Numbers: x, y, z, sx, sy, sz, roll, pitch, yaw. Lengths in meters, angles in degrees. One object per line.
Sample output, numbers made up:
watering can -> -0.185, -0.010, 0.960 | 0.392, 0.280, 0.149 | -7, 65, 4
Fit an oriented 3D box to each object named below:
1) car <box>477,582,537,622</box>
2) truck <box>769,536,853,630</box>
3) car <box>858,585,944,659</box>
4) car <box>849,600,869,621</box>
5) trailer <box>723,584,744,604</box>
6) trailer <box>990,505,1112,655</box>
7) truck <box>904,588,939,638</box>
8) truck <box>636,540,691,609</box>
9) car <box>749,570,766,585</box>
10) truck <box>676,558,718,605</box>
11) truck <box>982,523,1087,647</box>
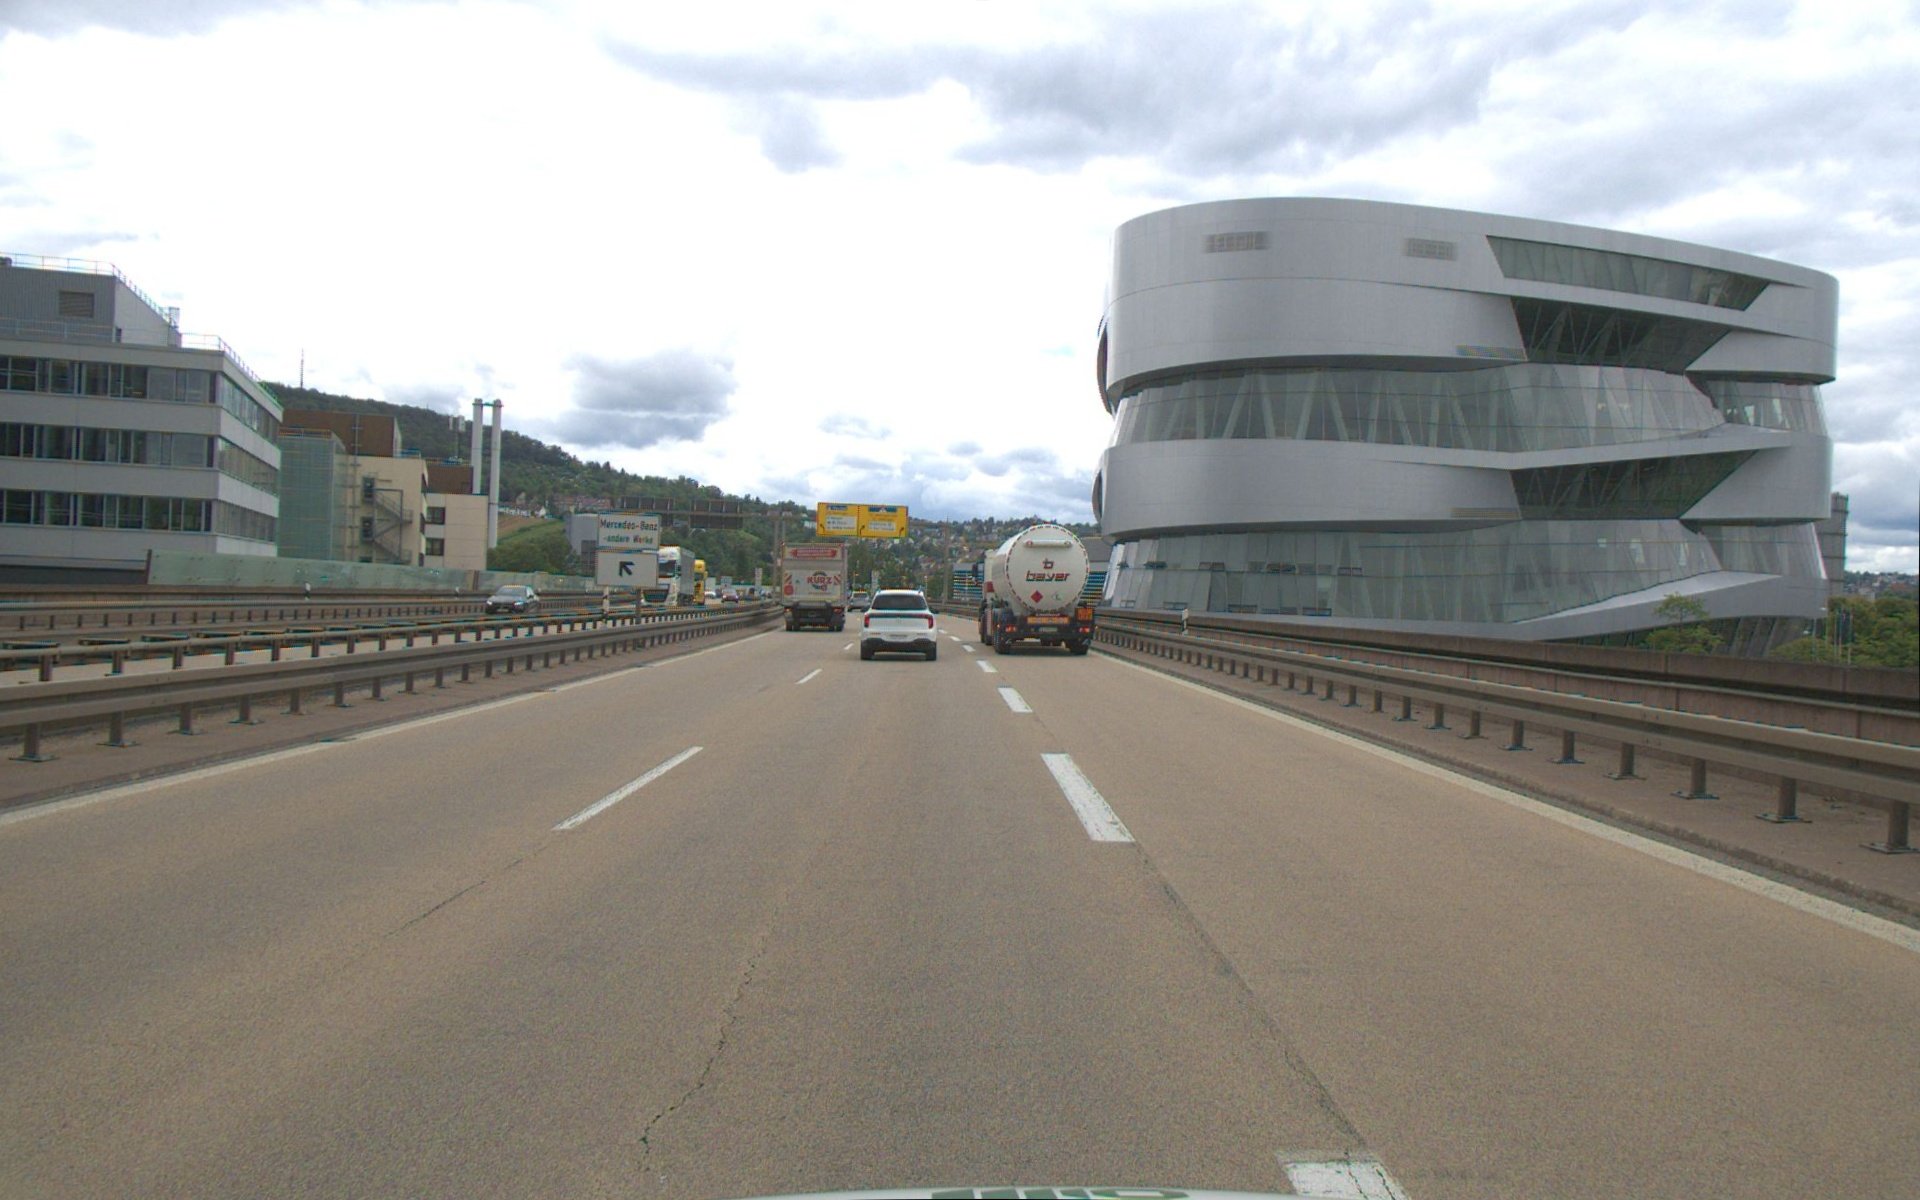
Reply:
car -> -20.156, 0.086, 73.706 | 1.649, 1.679, 4.357 | 2, -1, -3
truck -> -6.256, -0.656, 70.739 | 2.995, 3.755, 8.301 | 1, -1, -1
car -> -1.404, 0.536, 40.998 | 1.953, 1.704, 4.407 | 1, -1, 0
car -> -8.468, 0.862, 138.853 | 1.649, 1.679, 4.357 | 2, -1, -3
trailer -> -24.346, -0.633, 177.886 | 1.954, 2.049, 3.997 | 1, -1, -3
trailer -> 2.431, -0.492, 47.007 | 2.994, 3.856, 8.303 | 1, -1, 0
truck -> -3.766, 1.246, 159.443 | 2.996, 4.642, 8.297 | 1, -1, -4
truck -> -18.614, -1.527, 104.168 | 2.717, 4.151, 5.642 | 1, -1, -3
car -> -24.397, -2.708, 199.323 | 1.955, 1.634, 4.801 | 1, -1, -6
truck -> -24.311, -1.640, 153.383 | 2.997, 4.136, 11.843 | 1, -1, -5
truck -> 2.302, -0.423, 53.261 | 2.953, 3.721, 6.271 | 1, -1, -1
